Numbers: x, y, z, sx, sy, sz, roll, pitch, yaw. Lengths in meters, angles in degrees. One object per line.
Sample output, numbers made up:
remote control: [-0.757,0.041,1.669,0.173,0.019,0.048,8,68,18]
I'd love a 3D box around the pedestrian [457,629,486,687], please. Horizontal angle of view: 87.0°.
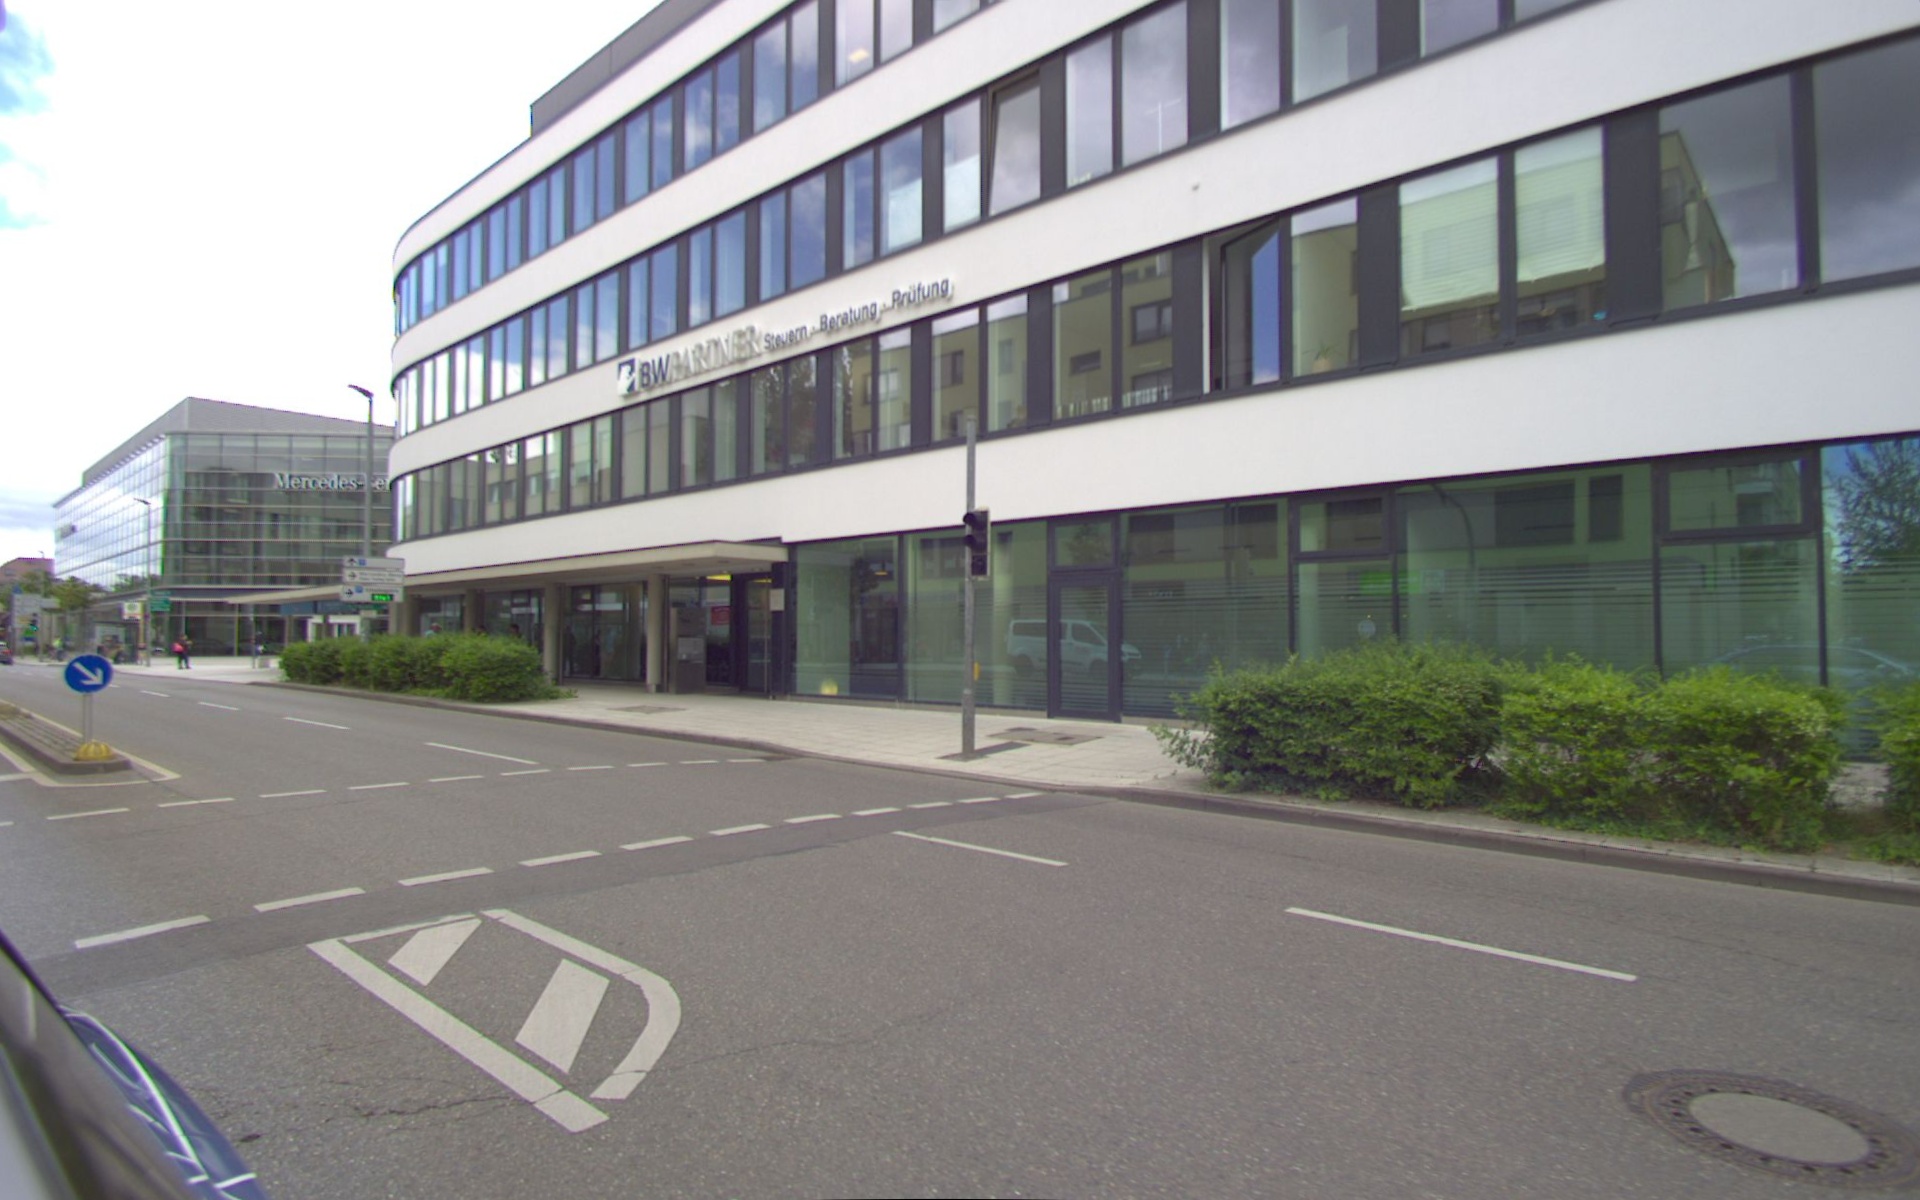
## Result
pedestrian: [-14.822,1.751,30.706,0.501,1.723,0.613,-1,-2,11]

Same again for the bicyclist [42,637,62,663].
bicyclist: [-64.956,3.597,72.379,0.762,1.814,0.748,-2,-1,-4]

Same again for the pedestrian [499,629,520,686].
pedestrian: [-13.790,1.756,30.986,0.497,1.743,0.617,1,-2,-17]

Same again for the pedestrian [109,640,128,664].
pedestrian: [-47.570,2.920,57.200,0.576,1.330,0.677,-2,-5,40]

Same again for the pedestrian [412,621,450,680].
pedestrian: [-15.550,1.463,29.734,0.931,1.686,0.722,-2,-2,44]

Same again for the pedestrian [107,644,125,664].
pedestrian: [-48.066,3.086,57.643,0.576,1.084,0.677,-2,-5,40]

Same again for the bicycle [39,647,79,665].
bicycle: [-62.784,3.881,70.542,1.973,1.139,0.640,-2,-1,-33]

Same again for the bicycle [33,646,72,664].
bicycle: [-64.910,3.911,72.382,2.000,1.215,0.748,-2,-1,-4]

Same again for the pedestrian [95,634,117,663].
pedestrian: [-49.172,2.810,58.269,0.568,1.644,0.686,0,-3,1]

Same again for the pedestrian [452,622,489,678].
pedestrian: [-14.530,1.472,30.033,0.931,1.625,0.722,-2,-2,44]

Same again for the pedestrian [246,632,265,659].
pedestrian: [-50.998,3.280,73.307,0.740,1.960,0.901,-1,-1,3]

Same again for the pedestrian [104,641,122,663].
pedestrian: [-48.549,2.996,58.006,0.576,1.263,0.677,-2,-4,40]

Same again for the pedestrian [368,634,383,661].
pedestrian: [-42.702,3.483,73.967,0.747,1.960,0.680,-2,-2,29]

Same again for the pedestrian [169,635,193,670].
pedestrian: [-36.208,2.430,47.011,0.820,1.579,0.814,0,-2,-43]

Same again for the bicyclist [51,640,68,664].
bicyclist: [-62.761,3.623,70.558,0.771,1.661,0.640,-1,-1,-33]

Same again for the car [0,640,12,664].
car: [-60.252,3.225,62.685,4.470,1.426,1.876,-2,-1,42]
